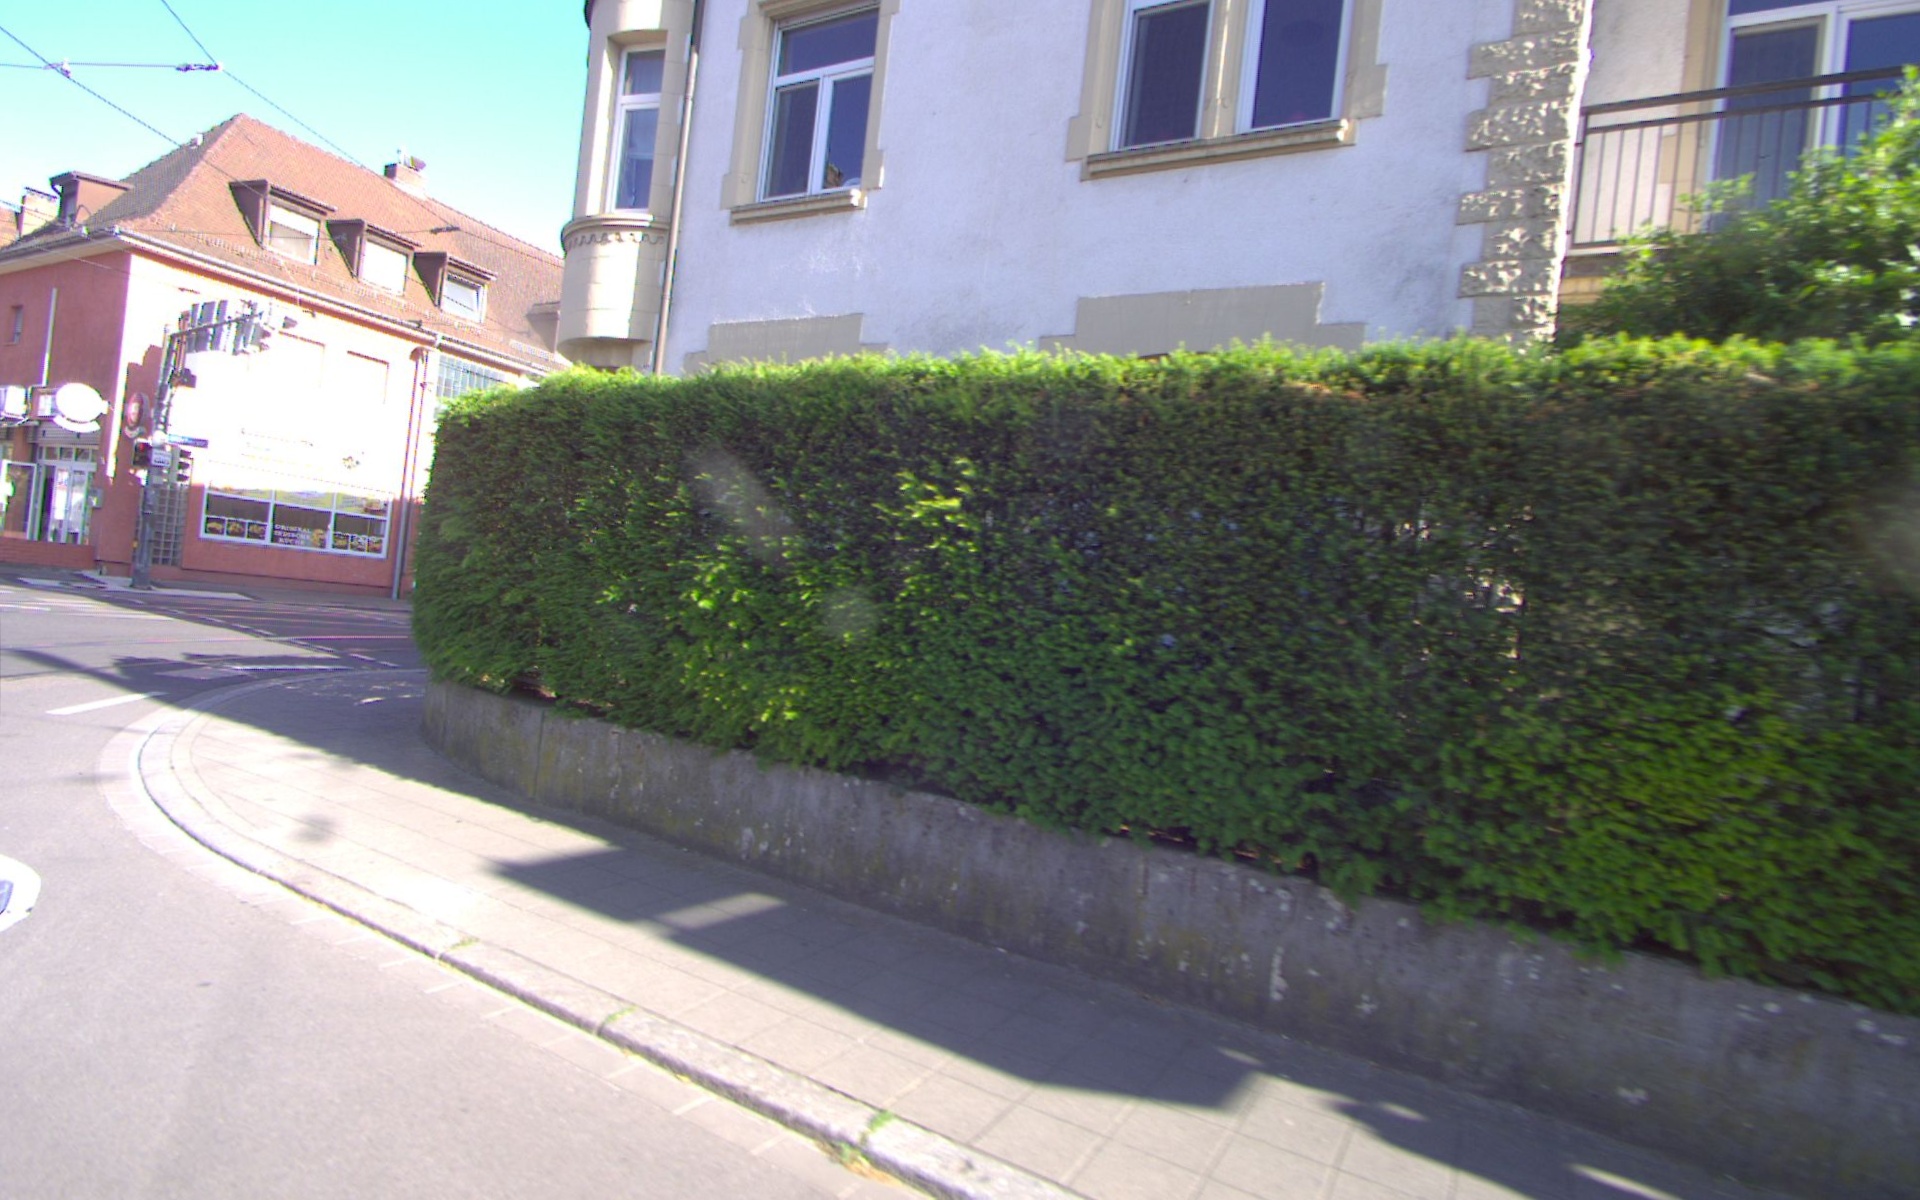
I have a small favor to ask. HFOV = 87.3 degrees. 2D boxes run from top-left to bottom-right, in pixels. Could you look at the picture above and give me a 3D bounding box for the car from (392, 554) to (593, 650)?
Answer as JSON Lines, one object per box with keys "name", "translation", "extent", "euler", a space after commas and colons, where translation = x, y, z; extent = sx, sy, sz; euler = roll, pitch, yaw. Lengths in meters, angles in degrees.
{"name": "car", "translation": [-8.495, 0.100, 18.695], "extent": [1.689, 1.419, 4.008], "euler": [6, -2, 1]}
